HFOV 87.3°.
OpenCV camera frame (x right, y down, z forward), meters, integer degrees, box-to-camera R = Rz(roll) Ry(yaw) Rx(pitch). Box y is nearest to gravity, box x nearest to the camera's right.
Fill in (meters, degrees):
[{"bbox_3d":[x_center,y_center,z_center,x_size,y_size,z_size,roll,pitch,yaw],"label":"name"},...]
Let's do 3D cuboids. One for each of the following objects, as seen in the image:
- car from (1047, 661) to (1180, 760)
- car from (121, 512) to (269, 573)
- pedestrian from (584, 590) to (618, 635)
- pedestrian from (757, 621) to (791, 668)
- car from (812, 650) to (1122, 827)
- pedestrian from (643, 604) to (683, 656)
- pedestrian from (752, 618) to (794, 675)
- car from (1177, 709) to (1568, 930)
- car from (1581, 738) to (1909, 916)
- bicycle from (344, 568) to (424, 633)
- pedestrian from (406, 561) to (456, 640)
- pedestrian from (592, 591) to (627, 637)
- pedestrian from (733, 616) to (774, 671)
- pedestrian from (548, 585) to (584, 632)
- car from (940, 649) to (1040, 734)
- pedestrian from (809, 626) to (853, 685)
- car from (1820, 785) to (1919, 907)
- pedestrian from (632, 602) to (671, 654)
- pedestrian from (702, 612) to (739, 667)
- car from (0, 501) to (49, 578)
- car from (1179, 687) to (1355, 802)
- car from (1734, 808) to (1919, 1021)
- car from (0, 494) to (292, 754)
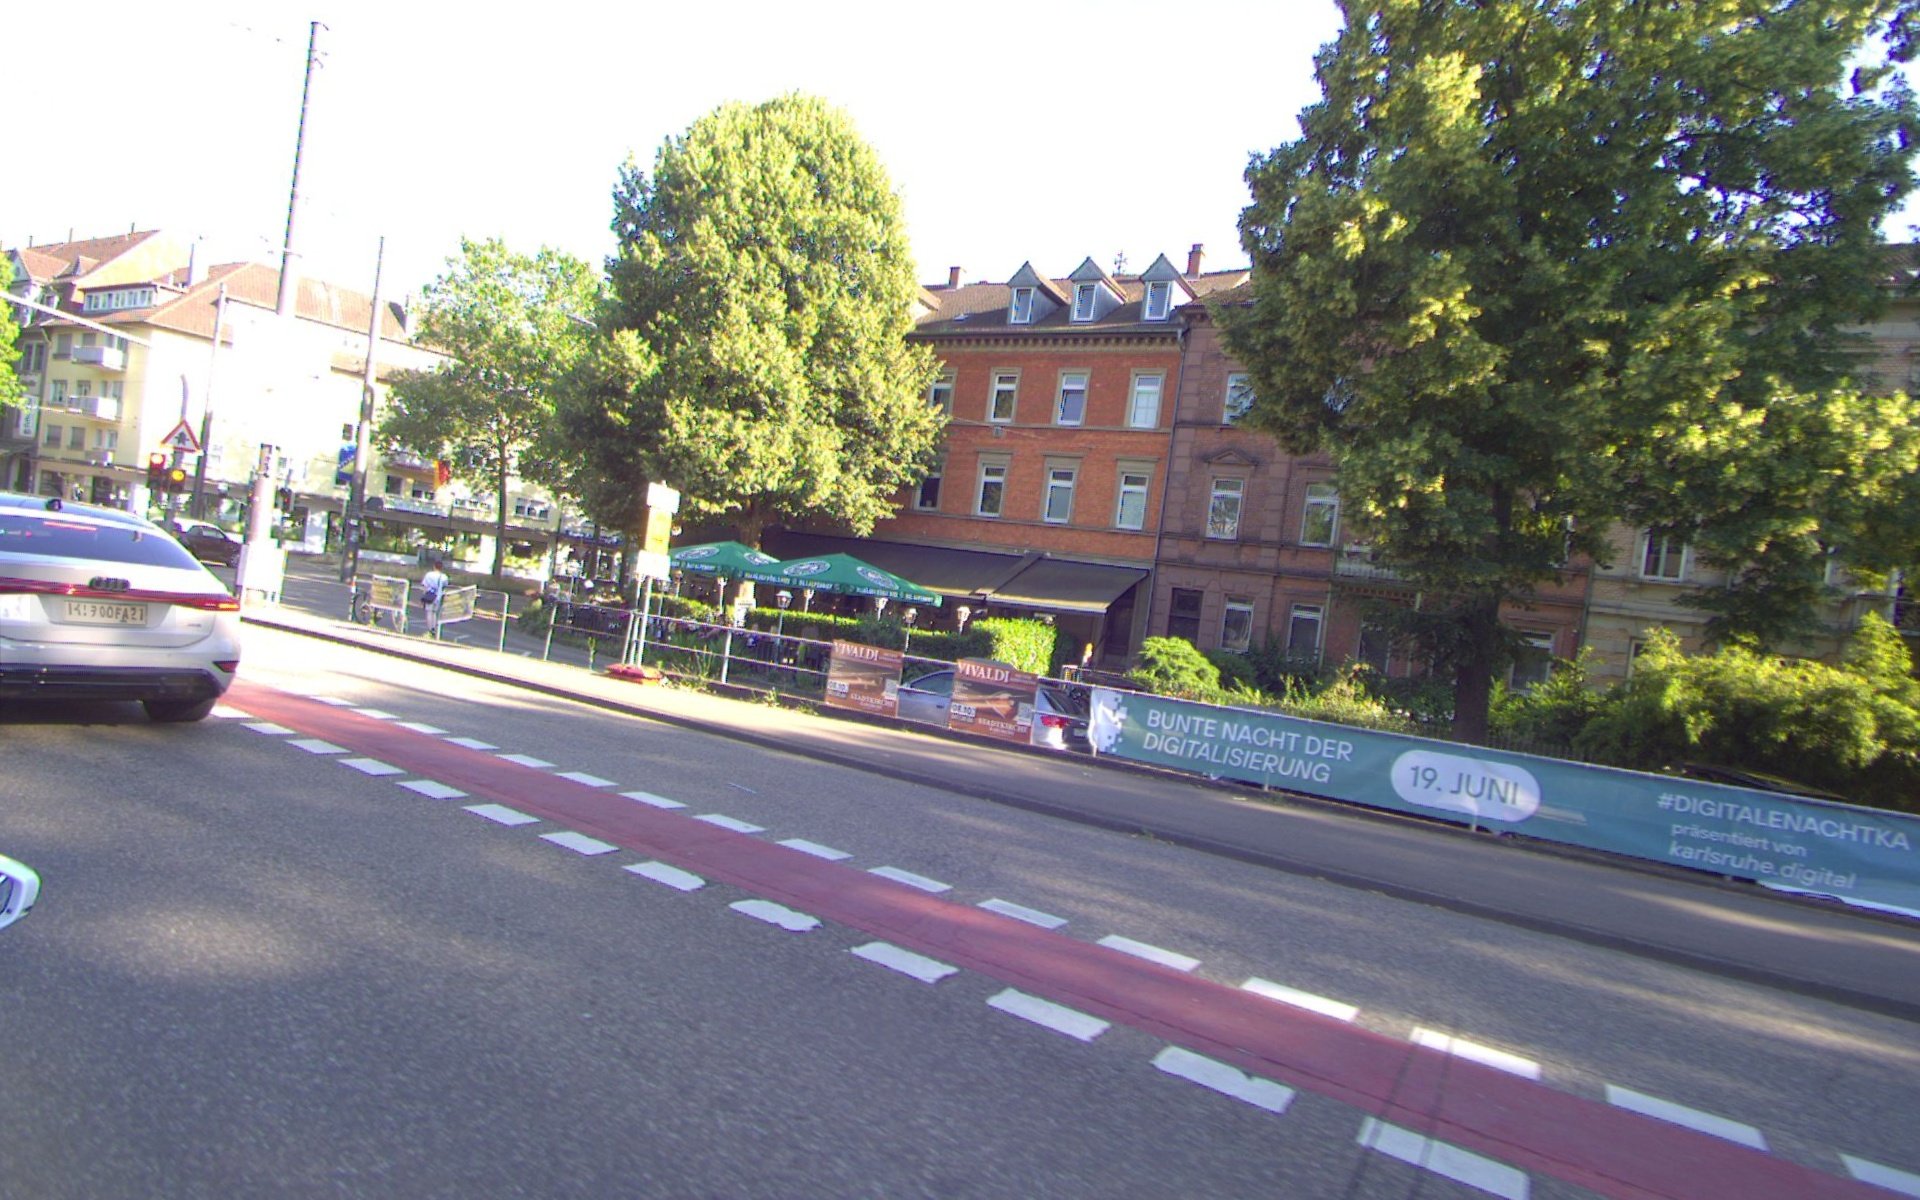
[{"bbox_3d":[3.321,2.380,22.538,1.769,1.498,3.993,7,1,-7],"label":"car"},{"bbox_3d":[-26.043,-1.911,34.435,1.767,1.528,4.001,8,-1,2],"label":"car"},{"bbox_3d":[-11.793,0.401,33.039,0.621,1.352,0.649,7,-2,32],"label":"pedestrian"},{"bbox_3d":[-5.415,1.306,29.317,0.604,1.275,0.633,8,-2,14],"label":"pedestrian"},{"bbox_3d":[0.069,2.022,15.539,4.285,1.920,1.798,6,-2,30],"label":"car"},{"bbox_3d":[-8.346,0.849,28.254,0.621,1.352,0.649,7,-2,32],"label":"pedestrian"},{"bbox_3d":[-4.855,1.208,26.109,0.621,1.352,0.649,7,-2,32],"label":"pedestrian"},{"bbox_3d":[5.095,2.603,12.774,4.136,1.824,1.800,6,-2,25],"label":"car"},{"bbox_3d":[12.443,3.528,16.344,1.768,1.757,3.995,7,1,-6],"label":"car"},{"bbox_3d":[-11.399,0.006,19.892,1.770,1.087,0.499,6,-1,32],"label":"bicycle"},{"bbox_3d":[-11.340,0.011,21.565,0.646,1.580,0.625,10,-3,-39],"label":"pedestrian"},{"bbox_3d":[-11.229,0.441,32.238,0.621,1.352,0.649,7,-2,32],"label":"pedestrian"},{"bbox_3d":[-5.471,1.152,26.663,0.621,1.352,0.649,7,-2,32],"label":"pedestrian"},{"bbox_3d":[-12.510,0.266,31.952,0.621,1.352,0.649,7,-2,32],"label":"pedestrian"},{"bbox_3d":[0.614,2.084,23.777,1.748,1.365,3.995,7,1,-5],"label":"car"},{"bbox_3d":[-3.176,1.370,24.845,0.621,1.352,0.649,7,-2,32],"label":"pedestrian"},{"bbox_3d":[15.522,4.015,15.059,1.766,1.533,3.999,7,1,2],"label":"car"},{"bbox_3d":[-8.904,0.811,29.083,0.621,1.352,0.649,7,-2,32],"label":"pedestrian"},{"bbox_3d":[-6.401,1.042,26.872,0.643,1.352,0.627,9,-2,-28],"label":"pedestrian"},{"bbox_3d":[-20.818,-1.415,21.452,1.794,1.455,3.999,9,-2,-41],"label":"car"},{"bbox_3d":[5.984,2.789,20.215,1.929,1.424,4.246,7,1,-3],"label":"car"},{"bbox_3d":[10.217,3.239,9.436,4.369,1.597,1.798,6,-2,32],"label":"car"},{"bbox_3d":[-7.245,-0.055,7.434,4.774,1.490,1.932,7,-1,32],"label":"car"}]
